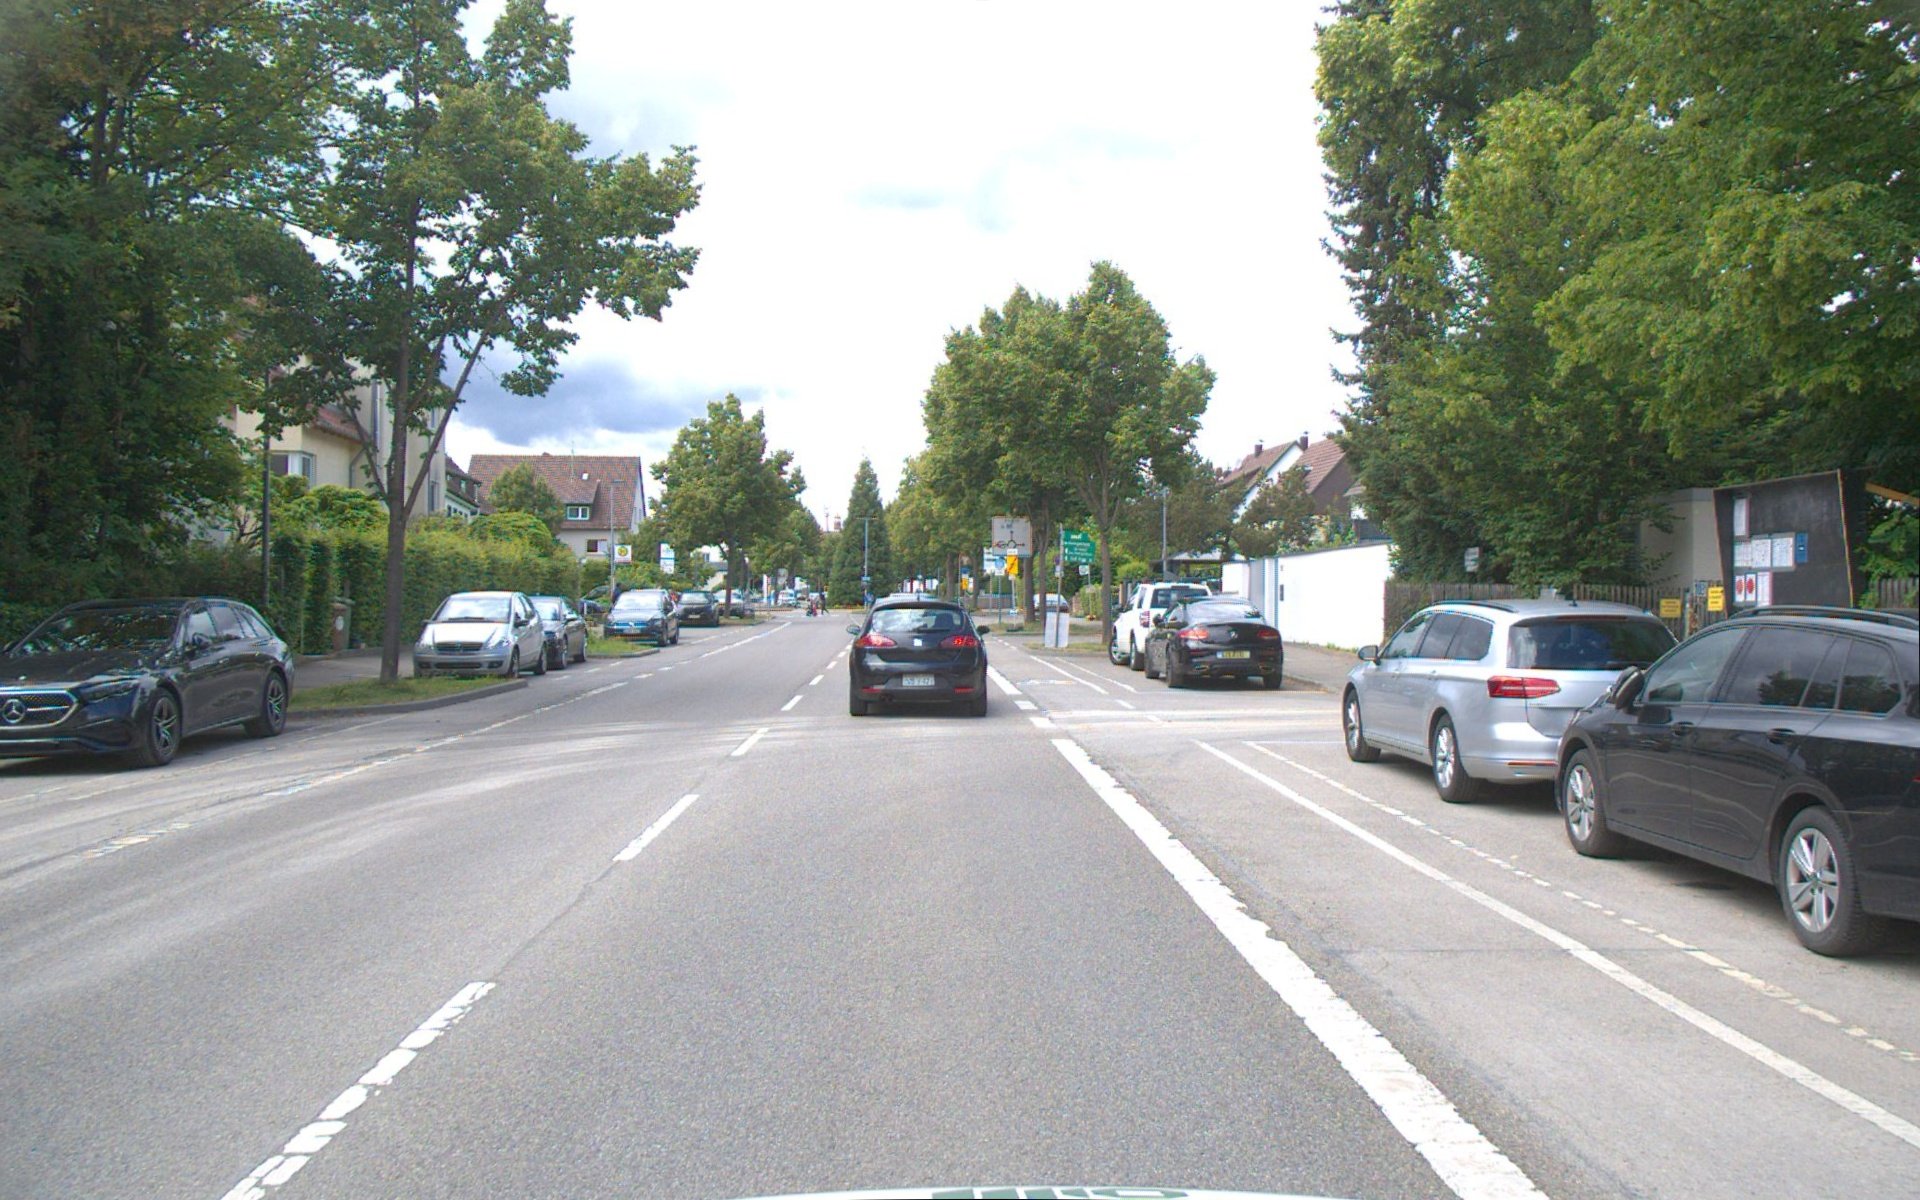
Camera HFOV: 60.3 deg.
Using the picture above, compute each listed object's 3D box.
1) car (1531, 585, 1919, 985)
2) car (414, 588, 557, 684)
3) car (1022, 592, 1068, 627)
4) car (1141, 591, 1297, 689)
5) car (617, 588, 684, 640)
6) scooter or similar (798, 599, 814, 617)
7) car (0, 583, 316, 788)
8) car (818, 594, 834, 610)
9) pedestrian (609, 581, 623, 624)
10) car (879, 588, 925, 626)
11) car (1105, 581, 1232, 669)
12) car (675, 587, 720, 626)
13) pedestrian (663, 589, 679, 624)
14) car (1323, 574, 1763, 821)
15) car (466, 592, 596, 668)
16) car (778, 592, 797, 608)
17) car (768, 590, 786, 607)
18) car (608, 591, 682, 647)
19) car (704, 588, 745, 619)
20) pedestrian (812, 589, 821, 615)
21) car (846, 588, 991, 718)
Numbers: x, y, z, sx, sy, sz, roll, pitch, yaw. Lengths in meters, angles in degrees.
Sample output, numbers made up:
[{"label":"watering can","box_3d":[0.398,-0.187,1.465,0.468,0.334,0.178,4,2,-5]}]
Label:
[{"label":"car","box_3d":[4.541,0.715,8.378,1.667,1.536,4.537,1,1,-1]},{"label":"car","box_3d":[-8.680,0.612,30.576,1.684,1.641,3.908,-1,0,-3]},{"label":"car","box_3d":[3.568,0.417,70.021,1.579,1.401,4.384,0,-1,-2]},{"label":"car","box_3d":[4.147,0.593,27.192,1.825,1.441,4.602,0,1,0]},{"label":"car","box_3d":[-10.409,0.454,55.825,1.785,1.662,4.581,-1,0,-5]},{"label":"scooter or similar","box_3d":[-10.123,0.524,108.556,0.947,1.115,0.407,2,-1,-1]},{"label":"car","box_3d":[-8.155,0.691,16.154,2.054,1.676,5.034,-1,1,-4]},{"label":"car","box_3d":[-14.062,0.177,174.083,1.537,1.663,3.620,0,0,-3]},{"label":"pedestrian","box_3d":[-14.727,0.115,70.804,0.493,1.837,0.671,0,0,-3]},{"label":"car","box_3d":[-2.523,0.294,72.839,1.953,1.641,3.999,0,0,-2]},{"label":"car","box_3d":[4.121,0.480,33.357,1.862,1.671,4.114,0,0,-3]},{"label":"car","box_3d":[-12.221,0.304,77.133,1.690,1.755,4.560,0,0,-5]},{"label":"pedestrian","box_3d":[-14.107,0.321,80.763,0.772,1.692,0.752,0,0,-10]},{"label":"car","box_3d":[4.476,0.673,13.558,1.824,1.639,4.685,1,0,-2]},{"label":"car","box_3d":[-9.269,0.608,36.143,1.955,1.511,4.885,-1,0,-5]},{"label":"car","box_3d":[-17.824,-0.038,171.151,1.762,1.629,3.997,-1,0,-4]},{"label":"car","box_3d":[-20.883,-0.179,188.871,1.990,2.005,3.995,-1,0,-5]},{"label":"car","box_3d":[-9.187,0.525,48.491,1.644,1.579,4.269,0,0,-4]},{"label":"car","box_3d":[-13.256,0.184,93.391,1.823,1.682,4.292,0,0,-2]},{"label":"pedestrian","box_3d":[-9.418,0.141,108.596,0.503,1.699,0.483,0,0,-1]},{"label":"car","box_3d":[-0.497,0.620,21.553,1.696,1.512,4.000,1,0,0]}]
